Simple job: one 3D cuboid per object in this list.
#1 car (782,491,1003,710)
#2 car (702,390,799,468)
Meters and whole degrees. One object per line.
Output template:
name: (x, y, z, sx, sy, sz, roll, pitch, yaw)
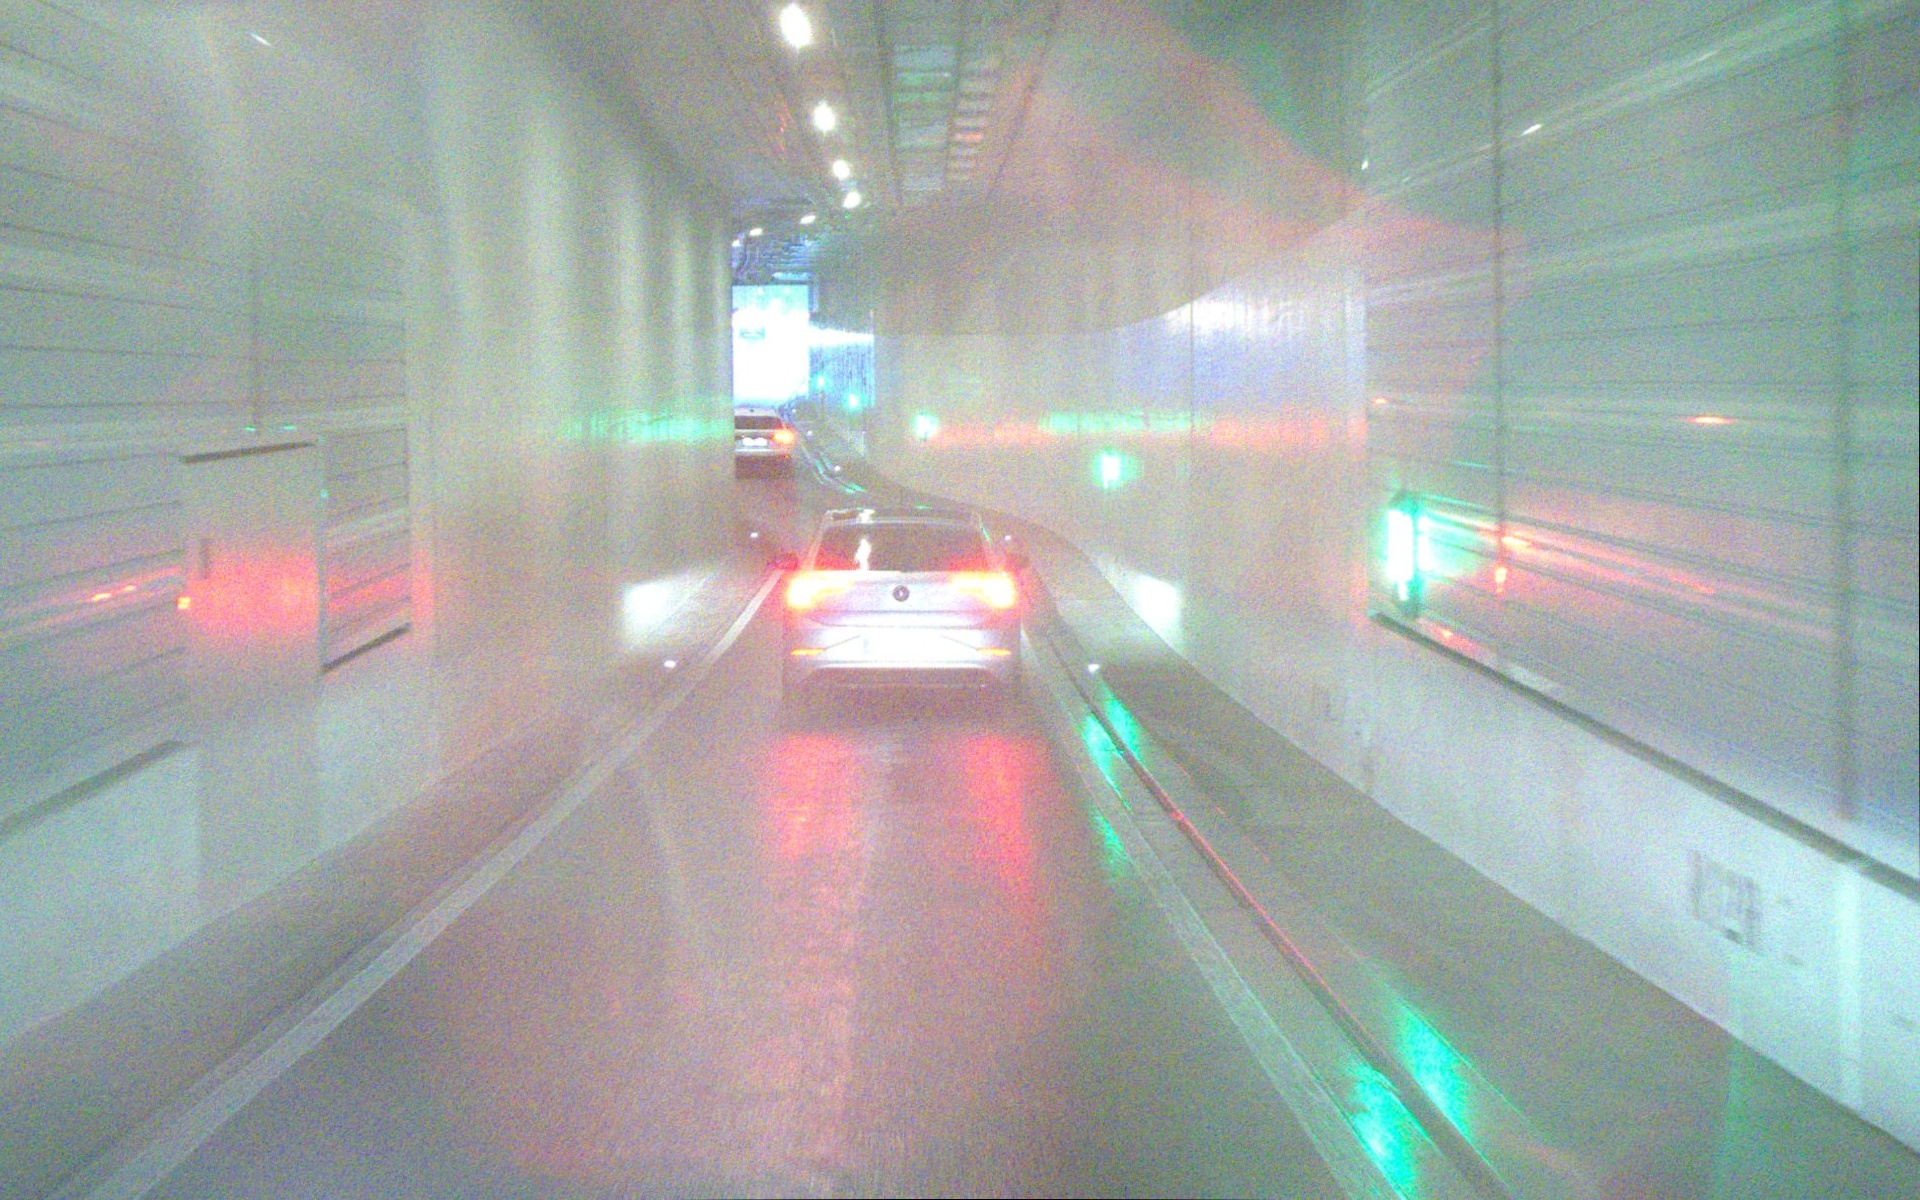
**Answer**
car: (-0.494, -0.047, 25.604, 1.532, 1.392, 3.435, 0, 4, -1)
car: (-4.576, -3.720, 74.636, 1.880, 1.615, 4.001, 0, 3, -6)
